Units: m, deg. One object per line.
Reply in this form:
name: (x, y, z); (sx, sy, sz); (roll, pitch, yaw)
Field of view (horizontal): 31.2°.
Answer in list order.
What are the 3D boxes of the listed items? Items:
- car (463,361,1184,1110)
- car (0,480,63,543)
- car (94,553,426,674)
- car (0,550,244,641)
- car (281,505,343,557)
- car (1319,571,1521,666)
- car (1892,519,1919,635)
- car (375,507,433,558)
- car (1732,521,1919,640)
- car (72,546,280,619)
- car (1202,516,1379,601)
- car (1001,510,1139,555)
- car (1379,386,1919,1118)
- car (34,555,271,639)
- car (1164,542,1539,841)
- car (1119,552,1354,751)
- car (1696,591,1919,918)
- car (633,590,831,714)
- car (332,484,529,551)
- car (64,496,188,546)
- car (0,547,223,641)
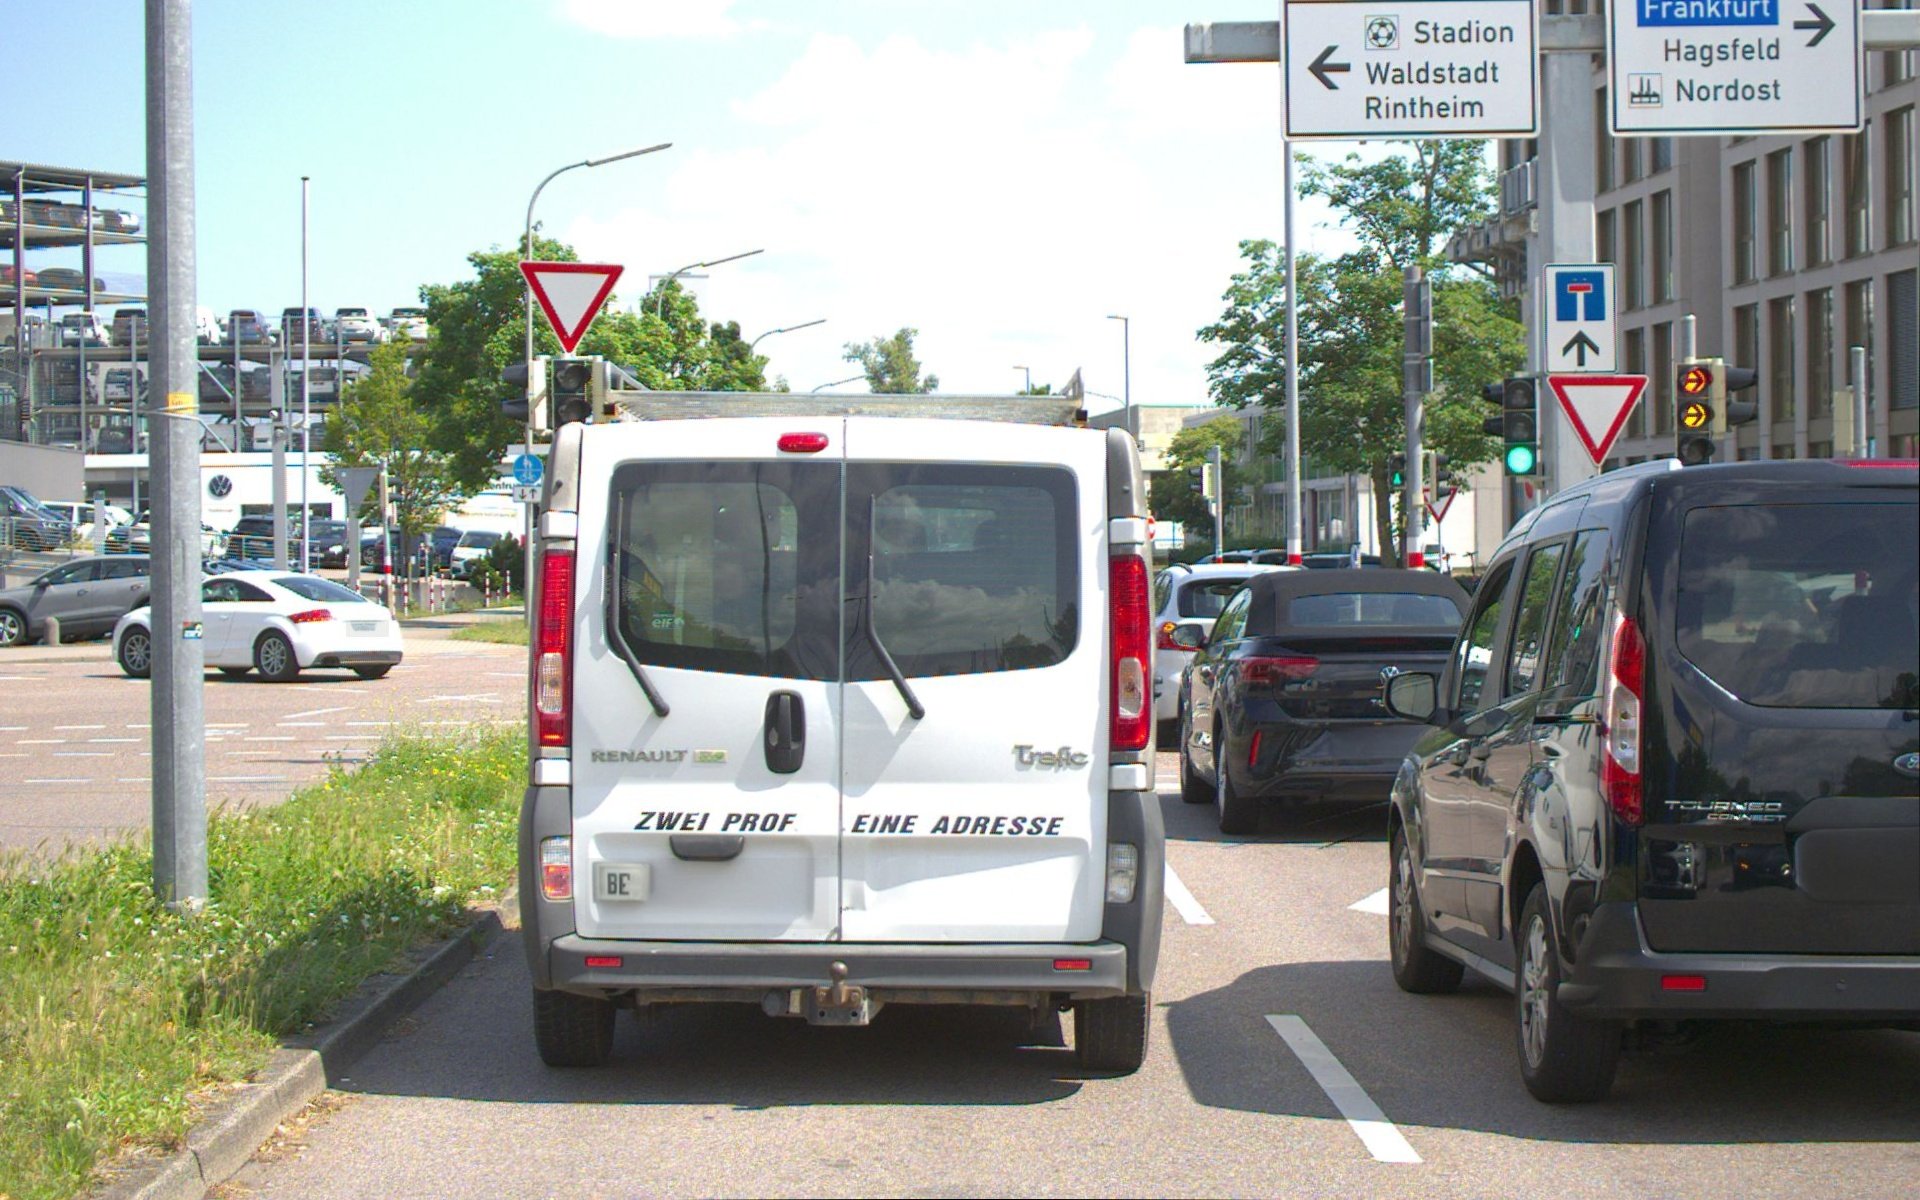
car: (-0.400, 0.355, 11.729); (1.973, 2.053, 4.565); (0, 0, -1)
car: (-29.268, -2.664, 102.894); (4.440, 1.795, 1.765); (1, 0, -6)
car: (-8.778, 0.151, 43.015); (3.995, 1.437, 1.857); (1, 0, 37)
car: (-16.298, -0.084, 66.375); (4.574, 1.672, 1.907); (1, 0, -3)
car: (-20.404, -2.153, 108.315); (1.560, 1.547, 3.603); (1, 0, -5)
car: (10.124, 0.405, 75.830); (3.986, 2.007, 2.000); (1, 0, -8)
car: (15.483, -0.298, 48.306); (4.197, 1.621, 1.828); (1, 0, -7)
car: (-17.425, -2.099, 107.817); (1.560, 1.547, 3.603); (1, 0, -5)
car: (15.108, -0.281, 54.988); (4.975, 1.831, 2.000); (1, 0, -7)
car: (-18.762, -0.418, 82.411); (4.574, 1.672, 1.907); (1, 0, -3)
car: (8.202, -1.018, 85.420); (3.986, 2.007, 2.000); (1, 0, -8)
car: (5.171, -3.184, 162.239); (6.340, 2.007, 2.573); (1, 0, -2)
car: (2.475, 0.380, 10.927); (1.823, 1.898, 4.000); (0, 0, 1)
car: (-16.994, -0.059, 72.529); (4.574, 1.672, 1.907); (1, 0, -3)
car: (2.253, 0.485, 20.746); (1.774, 1.624, 4.000); (0, 0, 0)
car: (2.369, 0.407, 30.303); (1.774, 1.624, 4.000); (0, 0, 1)
car: (5.720, 0.874, 20.365); (1.859, 1.650, 4.219); (5, 1, 3)
car: (-2.342, 0.513, 36.136); (1.774, 1.197, 4.000); (0, 0, 1)
car: (-17.724, -2.752, 115.283); (6.386, 2.095, 1.765); (1, 0, -5)
car: (-27.932, -2.642, 115.257); (3.986, 1.547, 1.765); (1, 0, -12)
car: (-16.190, -0.117, 64.020); (4.574, 1.672, 1.907); (1, 0, -3)
